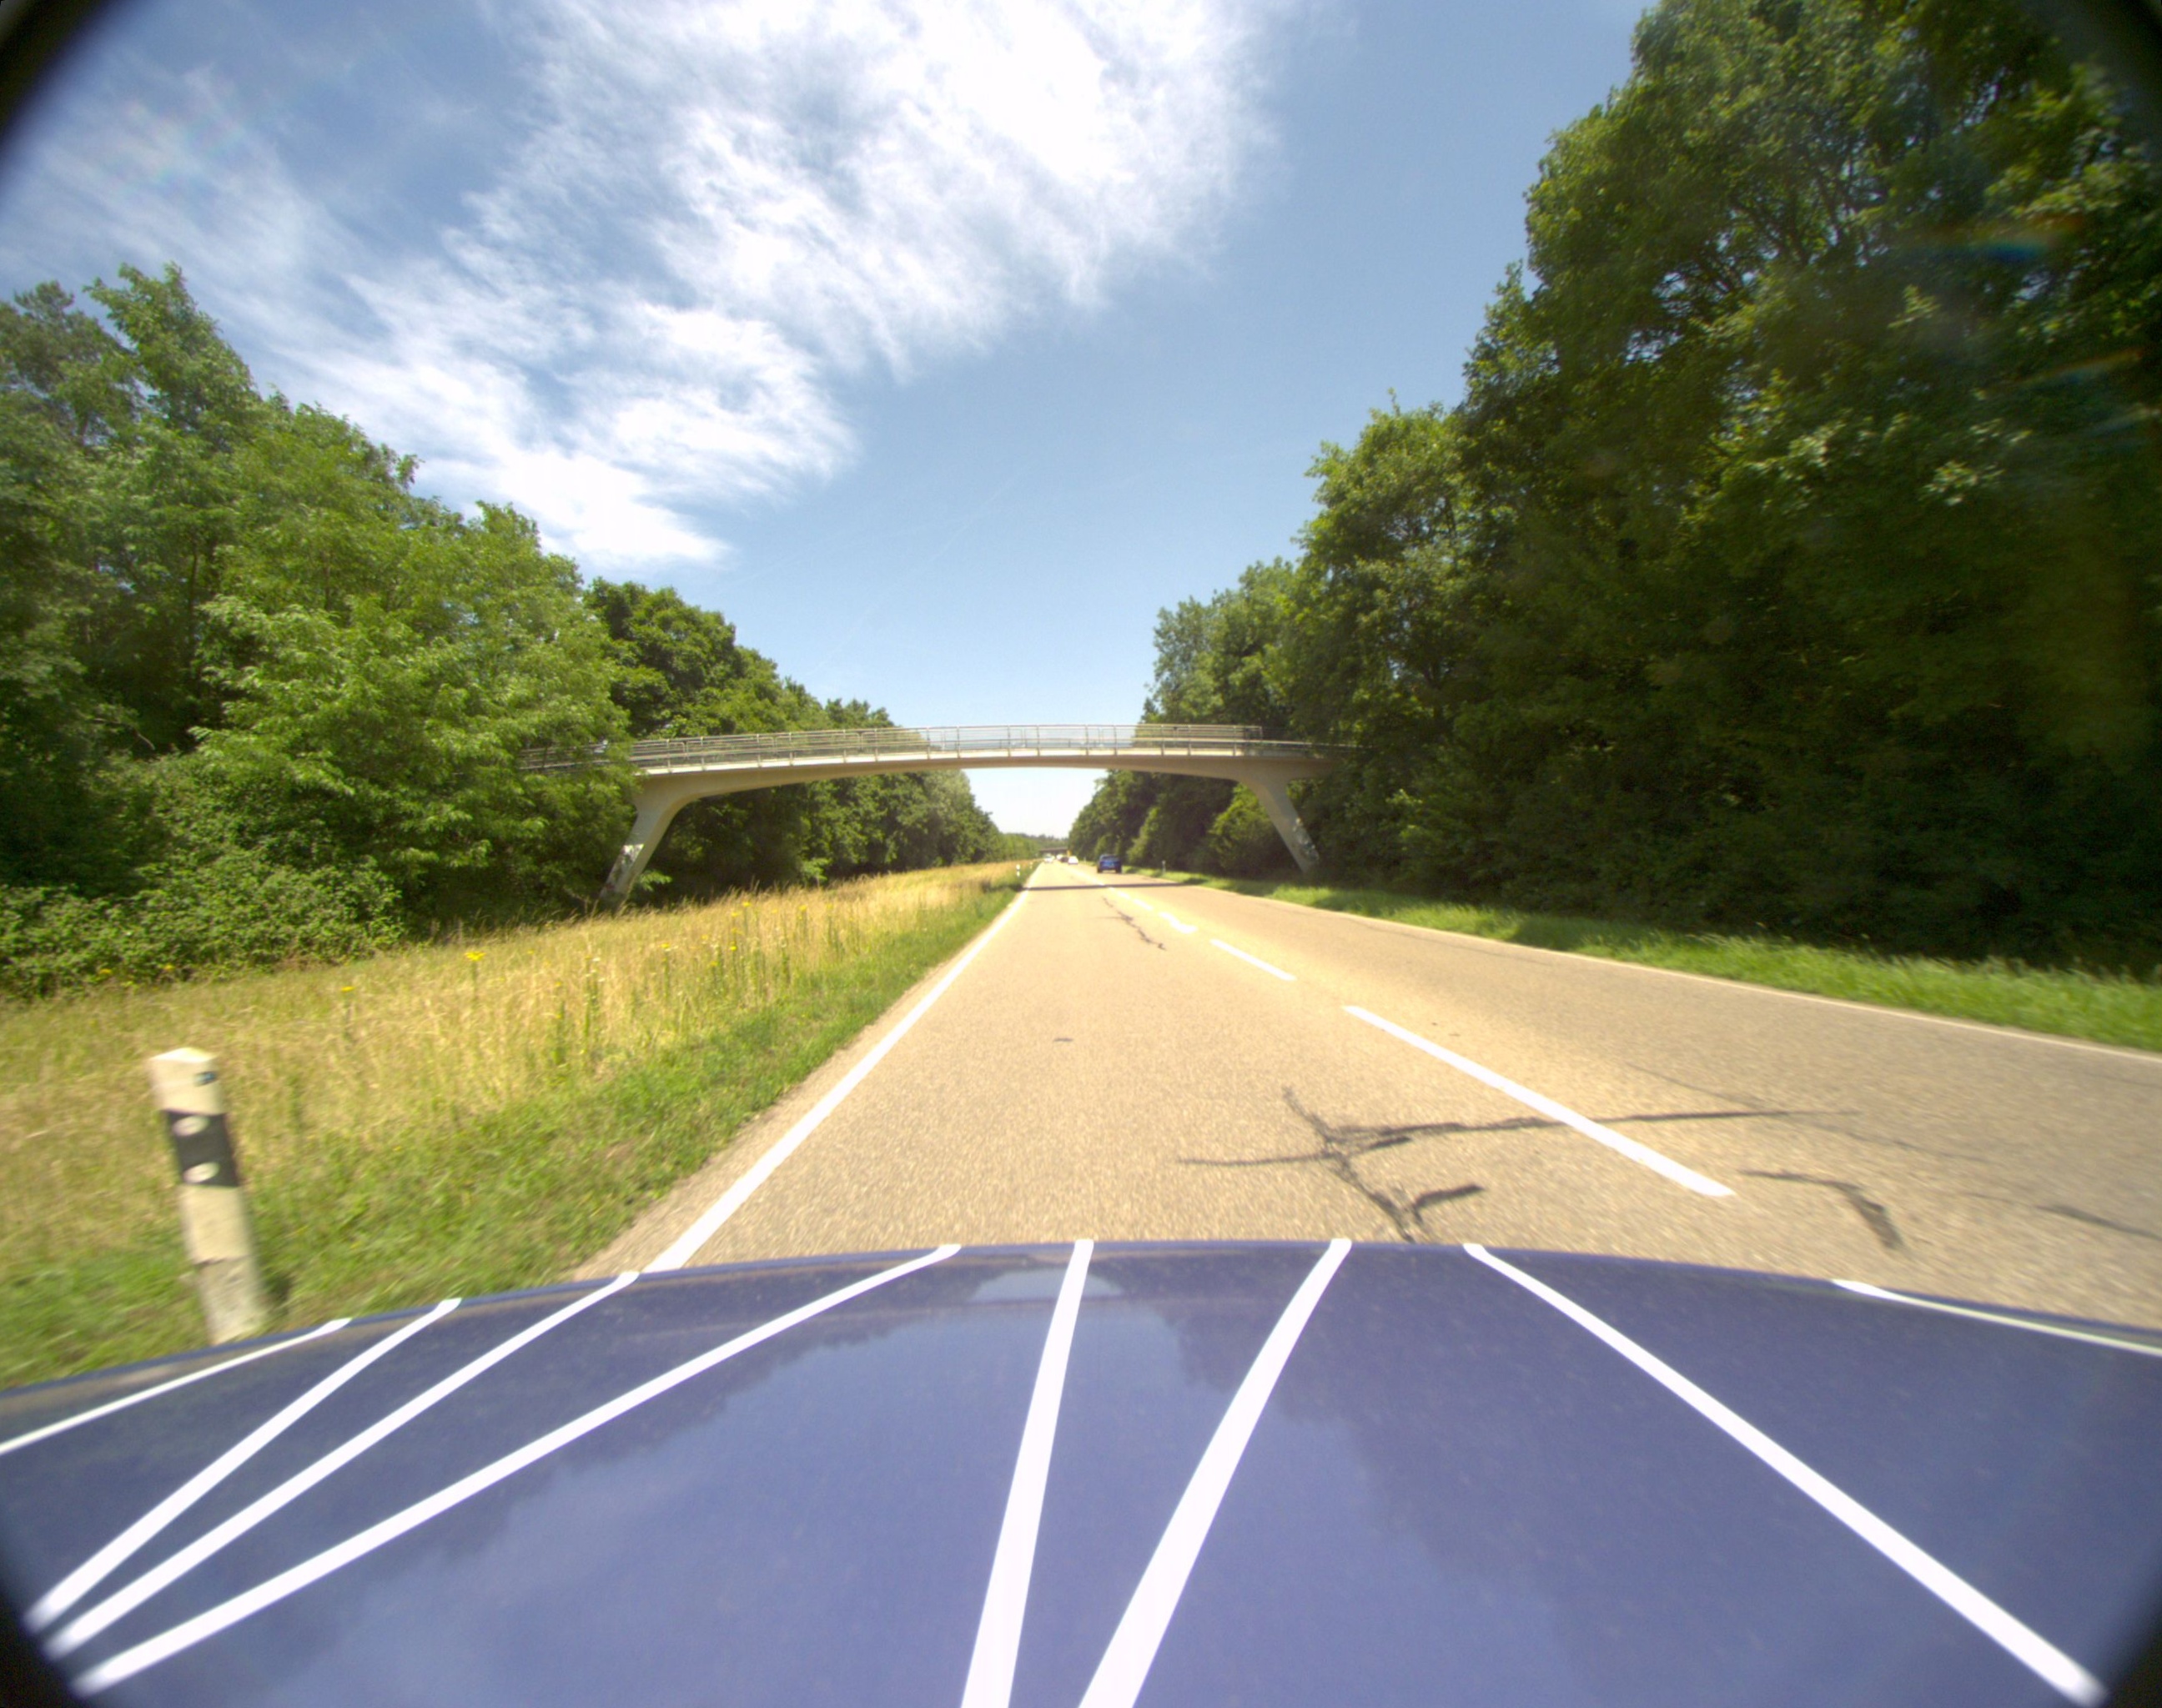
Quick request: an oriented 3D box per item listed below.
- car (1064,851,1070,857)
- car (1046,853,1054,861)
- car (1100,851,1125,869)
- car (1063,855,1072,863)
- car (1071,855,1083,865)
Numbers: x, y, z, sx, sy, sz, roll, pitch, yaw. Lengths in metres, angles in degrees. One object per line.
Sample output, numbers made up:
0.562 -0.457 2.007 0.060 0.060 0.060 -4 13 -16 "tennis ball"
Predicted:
-3.810 -0.093 204.795 1.686 1.484 3.999 -2 0 -1 "car"
-7.282 0.781 179.920 1.865 1.747 3.998 -2 1 -3 "car"
2.688 0.503 66.595 1.828 1.580 4.418 -1 0 -2 "car"
-3.172 1.065 177.408 1.865 1.747 3.998 -2 1 -3 "car"
-0.710 1.069 137.157 1.865 1.747 3.998 -2 1 -3 "car"
